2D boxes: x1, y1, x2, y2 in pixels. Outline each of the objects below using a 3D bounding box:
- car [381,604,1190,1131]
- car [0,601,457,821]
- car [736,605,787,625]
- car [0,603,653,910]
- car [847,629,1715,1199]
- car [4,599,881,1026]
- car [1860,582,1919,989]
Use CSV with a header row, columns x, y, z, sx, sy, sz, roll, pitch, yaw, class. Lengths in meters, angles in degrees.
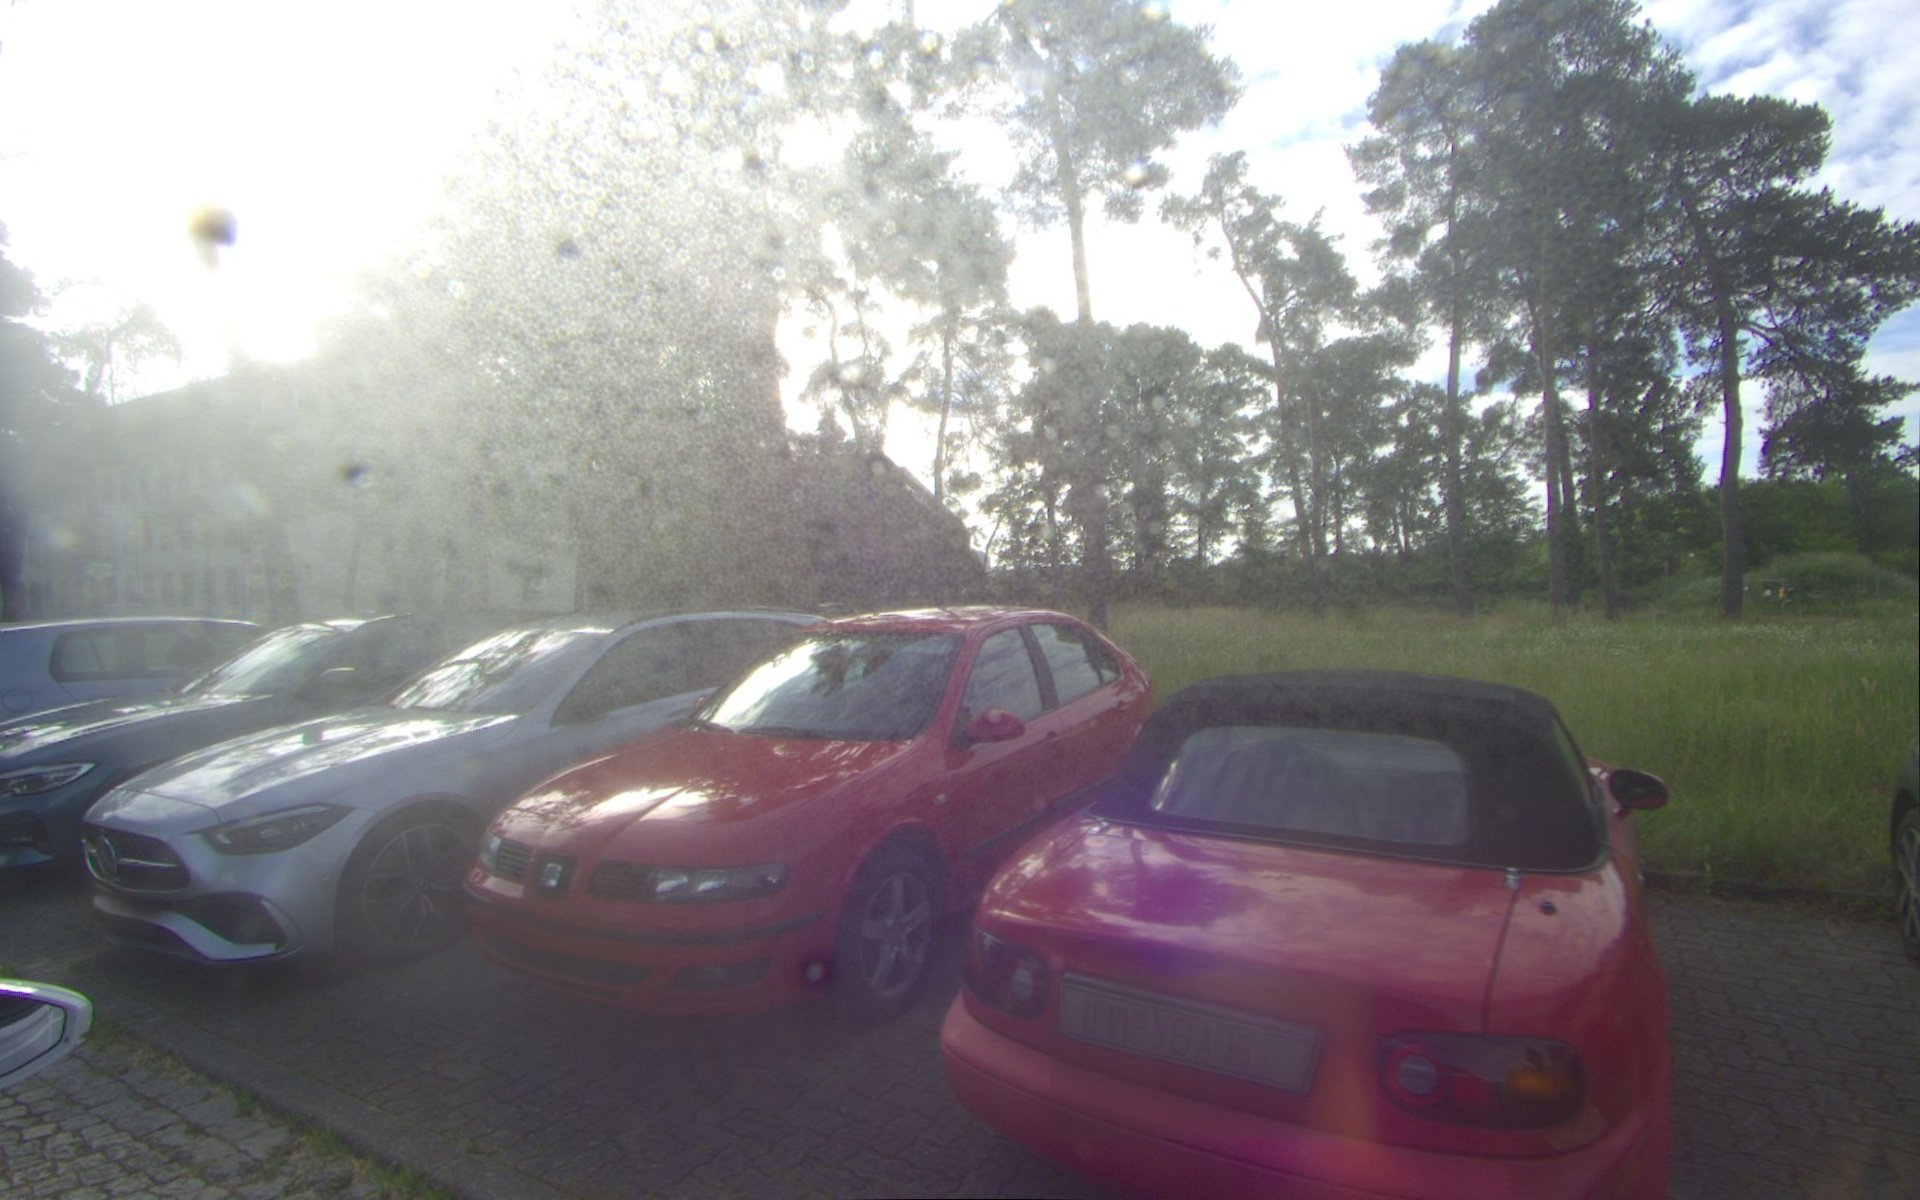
x,y,z,sx,sy,sz,roll,pitch,yaw,class
-0.349,0.773,5.017,1.695,1.442,4.099,-1,0,32,car
-6.734,0.802,8.821,1.618,1.490,3.835,-1,1,31,car
-15.029,1.128,75.950,1.541,1.416,3.981,-1,-2,31,car
-4.601,0.806,7.380,1.780,1.503,4.507,-1,0,29,car
1.385,0.821,3.347,1.586,1.303,3.537,-2,0,33,car
-2.415,0.774,5.902,1.741,1.448,4.318,-1,1,30,car
3.721,0.695,2.425,1.581,1.523,3.820,-1,0,31,car
